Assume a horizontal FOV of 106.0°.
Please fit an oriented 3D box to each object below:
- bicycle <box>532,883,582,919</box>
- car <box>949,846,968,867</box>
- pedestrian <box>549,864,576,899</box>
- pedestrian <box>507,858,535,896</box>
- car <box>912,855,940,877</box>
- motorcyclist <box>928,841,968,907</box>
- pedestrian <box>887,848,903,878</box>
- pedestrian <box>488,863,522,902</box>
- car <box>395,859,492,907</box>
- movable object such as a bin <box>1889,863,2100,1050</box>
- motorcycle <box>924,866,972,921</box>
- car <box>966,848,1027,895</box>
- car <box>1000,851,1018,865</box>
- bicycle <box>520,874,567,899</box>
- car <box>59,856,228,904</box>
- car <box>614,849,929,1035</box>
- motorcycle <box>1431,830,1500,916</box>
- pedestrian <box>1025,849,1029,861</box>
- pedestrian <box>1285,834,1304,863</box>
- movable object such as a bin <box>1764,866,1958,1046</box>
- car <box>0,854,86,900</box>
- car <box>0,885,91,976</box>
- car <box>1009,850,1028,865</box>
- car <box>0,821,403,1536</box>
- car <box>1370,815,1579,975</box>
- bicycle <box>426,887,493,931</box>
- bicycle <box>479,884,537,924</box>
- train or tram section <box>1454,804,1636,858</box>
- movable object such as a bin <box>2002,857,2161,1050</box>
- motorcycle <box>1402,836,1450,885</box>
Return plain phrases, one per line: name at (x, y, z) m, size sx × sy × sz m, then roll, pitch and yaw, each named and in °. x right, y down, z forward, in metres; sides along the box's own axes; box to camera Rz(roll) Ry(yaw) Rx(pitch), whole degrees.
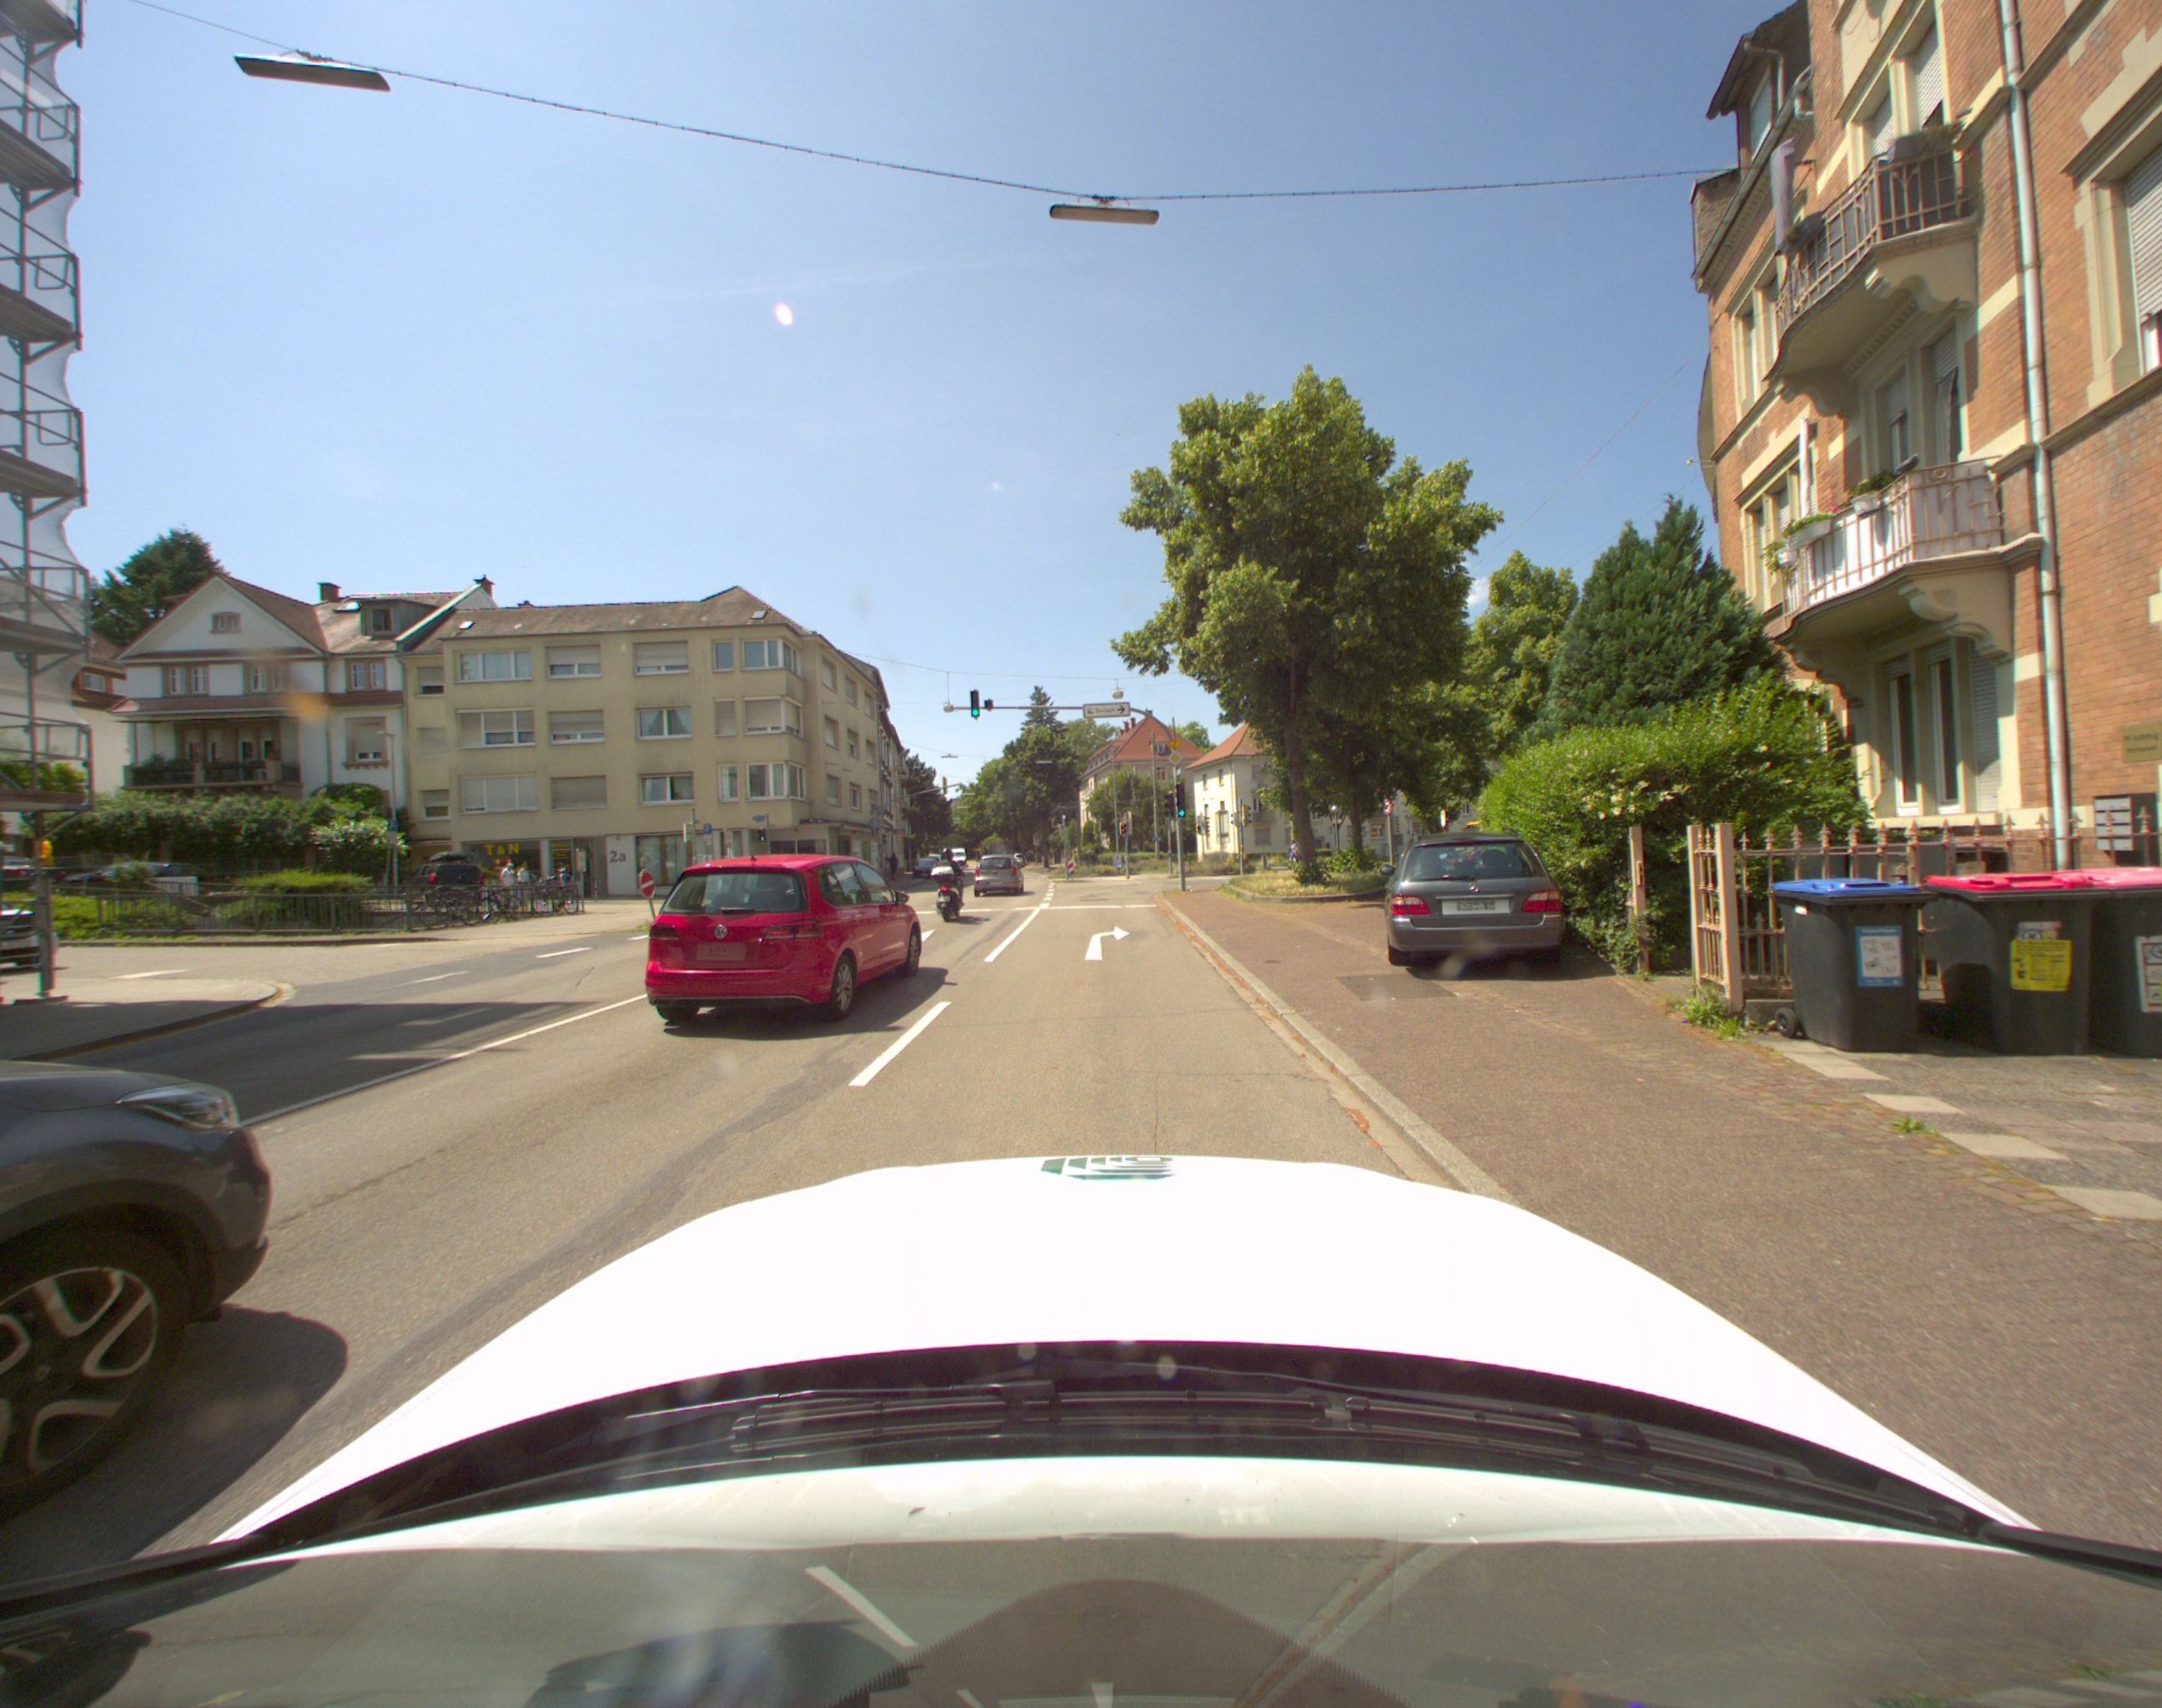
bicycle at (-15.631, 1.384, 24.337) m, size 0.396 × 0.967 × 1.782 m, roll -2°, pitch 0°, yaw -3°
car at (-16.420, 0.334, 109.593) m, size 2.215 × 2.501 × 7.533 m, roll -6°, pitch 0°, yaw -8°
pedestrian at (-22.187, 1.171, 34.841) m, size 0.683 × 1.475 × 0.649 m, roll -2°, pitch 0°, yaw 2°
pedestrian at (-24.400, 0.997, 35.482) m, size 0.683 × 1.632 × 0.649 m, roll -2°, pitch 0°, yaw 2°
car at (-11.743, 0.931, 61.416) m, size 1.995 × 1.519 × 3.983 m, roll -1°, pitch -1°, yaw -12°
motorcyclist at (-3.045, 0.438, 18.713) m, size 0.708 × 1.445 × 1.019 m, roll -2°, pitch 0°, yaw 0°
pedestrian at (-12.362, 0.582, 54.267) m, size 0.935 × 1.931 × 0.973 m, roll -2°, pitch 0°, yaw -11°
pedestrian at (-24.522, 1.209, 34.689) m, size 0.798 × 1.632 × 0.823 m, roll -2°, pitch 0°, yaw 2°
car at (-24.815, 1.115, 31.667) m, size 4.273 × 1.664 × 2.013 m, roll -2°, pitch 0°, yaw 39°
movable object such as a bin at (5.712, 0.613, 5.139) m, size 0.548 × 1.071 × 0.707 m, roll -2°, pitch 0°, yaw 11°
motorcycle at (-3.037, 0.876, 18.825) m, size 0.708 × 1.134 × 2.197 m, roll -2°, pitch 0°, yaw 0°
car at (-3.065, 0.614, 30.292) m, size 1.793 × 1.558 × 4.036 m, roll -2°, pitch 0°, yaw 0°
car at (-10.182, 0.498, 114.984) m, size 1.994 × 1.906 × 3.985 m, roll -2°, pitch 0°, yaw -11°
bicycle at (-24.002, 1.434, 36.391) m, size 1.732 × 1.026 × 0.498 m, roll -2°, pitch 0°, yaw -1°
car at (-34.686, 0.927, 30.219) m, size 3.976 × 1.616 × 1.808 m, roll 2°, pitch 0°, yaw -2°
car at (-3.046, 0.760, 9.034) m, size 1.792 × 1.558 × 4.039 m, roll -2°, pitch 0°, yaw 2°
motorcycle at (6.574, 0.286, 14.034) m, size 0.922 × 1.302 × 2.294 m, roll -3°, pitch 1°, yaw 23°
pedestrian at (-7.484, 0.078, 113.632) m, size 0.508 × 1.656 × 0.465 m, roll -2°, pitch 0°, yaw -6°
pedestrian at (13.272, -0.338, 50.599) m, size 0.840 × 1.705 × 0.756 m, roll -2°, pitch 0°, yaw -26°
movable object such as a bin at (5.037, 0.633, 5.304) m, size 0.645 × 1.071 × 0.639 m, roll -2°, pitch 0°, yaw 12°
car at (-39.794, 0.809, 29.946) m, size 3.976 × 1.550 × 1.808 m, roll 2°, pitch 0°, yaw -2°
car at (-19.654, 1.322, 13.681) m, size 3.718 × 1.447 × 1.756 m, roll -1°, pitch 0°, yaw -3°
car at (-7.832, 0.396, 101.758) m, size 1.994 × 1.807 × 3.985 m, roll -2°, pitch 0°, yaw -11°
car at (-3.405, 0.772, 0.931) m, size 1.747 × 1.632 × 4.003 m, roll -2°, pitch 0°, yaw 2°
car at (4.861, 0.335, 10.572) m, size 1.818 × 1.548 × 5.185 m, roll -3°, pitch 1°, yaw 22°
bicycle at (-15.485, 1.341, 20.348) m, size 0.396 × 0.967 × 1.717 m, roll -2°, pitch 0°, yaw -3°
bicycle at (-15.597, 1.345, 22.220) m, size 0.396 × 0.967 × 1.744 m, roll -2°, pitch 0°, yaw -3°
train or tram section at (35.902, -1.796, 62.954) m, size 14.152 × 3.568 × 2.805 m, roll -2°, pitch 0°, yaw -14°
movable object such as a bin at (6.289, 0.571, 4.957) m, size 0.572 × 1.071 × 0.707 m, roll -2°, pitch 0°, yaw 11°
motorcycle at (9.632, 0.162, 22.670) m, size 0.906 × 1.313 × 2.239 m, roll -1°, pitch 0°, yaw 31°
